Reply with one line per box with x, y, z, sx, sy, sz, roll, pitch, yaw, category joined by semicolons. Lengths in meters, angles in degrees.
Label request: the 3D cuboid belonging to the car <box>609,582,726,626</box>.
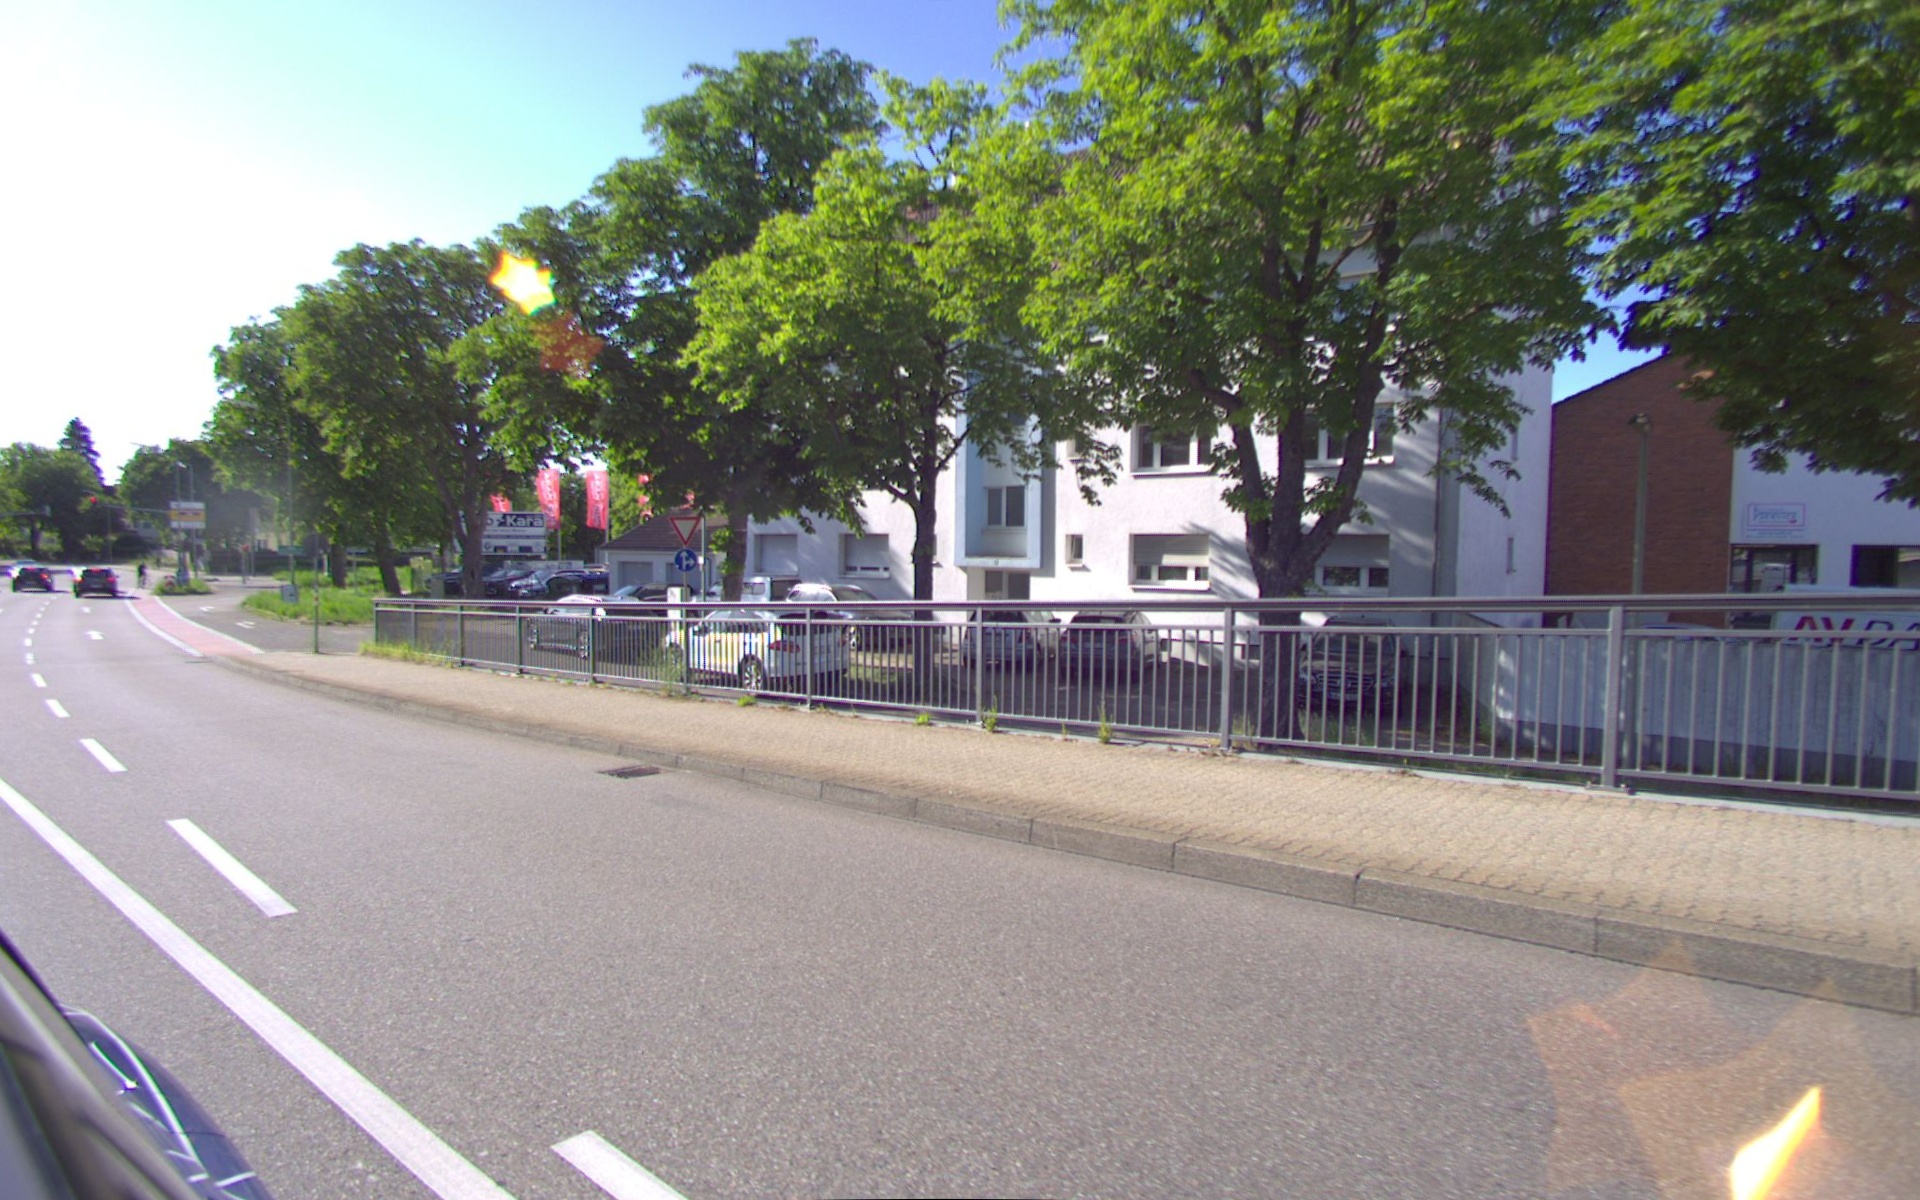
-11.062;0.113;38.447;1.906;1.439;3.949;3;4;38;car

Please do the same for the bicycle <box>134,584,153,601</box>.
-54.971;-0.517;68.151;0.925;1.024;2.201;-2;2;-38;bicycle

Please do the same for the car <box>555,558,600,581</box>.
-25.616;-2.073;67.746;1.717;1.472;4.009;-1;3;-38;car

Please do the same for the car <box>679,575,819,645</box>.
-6.737;0.240;31.965;5.104;1.944;1.728;2;3;43;car

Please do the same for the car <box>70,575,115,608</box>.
-48.380;-0.502;56.431;1.830;1.749;4.276;-2;2;-41;car

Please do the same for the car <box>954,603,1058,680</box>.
1.180;0.918;24.216;1.768;1.521;3.652;0;2;15;car

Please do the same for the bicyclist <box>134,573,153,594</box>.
-54.890;-1.118;68.024;0.921;1.412;0.824;-2;2;-38;bicyclist

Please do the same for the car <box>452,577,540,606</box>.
-24.426;-0.500;53.413;1.938;1.423;3.842;1;2;29;car

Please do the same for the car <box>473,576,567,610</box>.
-22.119;-0.377;51.006;1.990;1.571;3.964;1;2;27;car

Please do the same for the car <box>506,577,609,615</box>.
-18.457;-0.236;46.590;1.804;1.587;4.371;1;2;25;car

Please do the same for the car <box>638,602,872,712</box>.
-4.338;1.040;20.857;5.236;1.741;2.016;2;4;42;car

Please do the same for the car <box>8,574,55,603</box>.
-56.432;-0.707;61.472;4.002;1.611;1.891;2;0;45;car

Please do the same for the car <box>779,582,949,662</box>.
-2.772;0.525;28.483;4.785;1.944;2.048;2;3;41;car

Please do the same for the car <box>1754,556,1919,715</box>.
18.133;0.743;18.129;5.889;2.579;2.109;8;8;40;car

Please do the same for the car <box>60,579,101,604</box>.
-54.511;-0.576;62.760;1.761;1.425;3.898;-1;3;-39;car

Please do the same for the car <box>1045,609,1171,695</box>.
3.366;1.061;22.373;1.986;1.610;3.973;0;1;21;car

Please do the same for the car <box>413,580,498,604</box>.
-28.507;-0.484;57.310;2.034;1.249;3.897;1;2;27;car

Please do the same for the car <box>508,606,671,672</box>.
-9.718;0.933;26.345;4.963;1.475;2.015;0;2;44;car

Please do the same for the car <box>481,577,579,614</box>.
-20.653;-0.268;48.743;1.917;1.622;3.954;1;2;34;car

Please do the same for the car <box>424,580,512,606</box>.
-26.712;-0.414;55.068;2.034;1.249;3.897;1;2;27;car

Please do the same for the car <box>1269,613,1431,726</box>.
7.217;1.154;18.496;1.894;1.595;3.966;1;3;35;car
